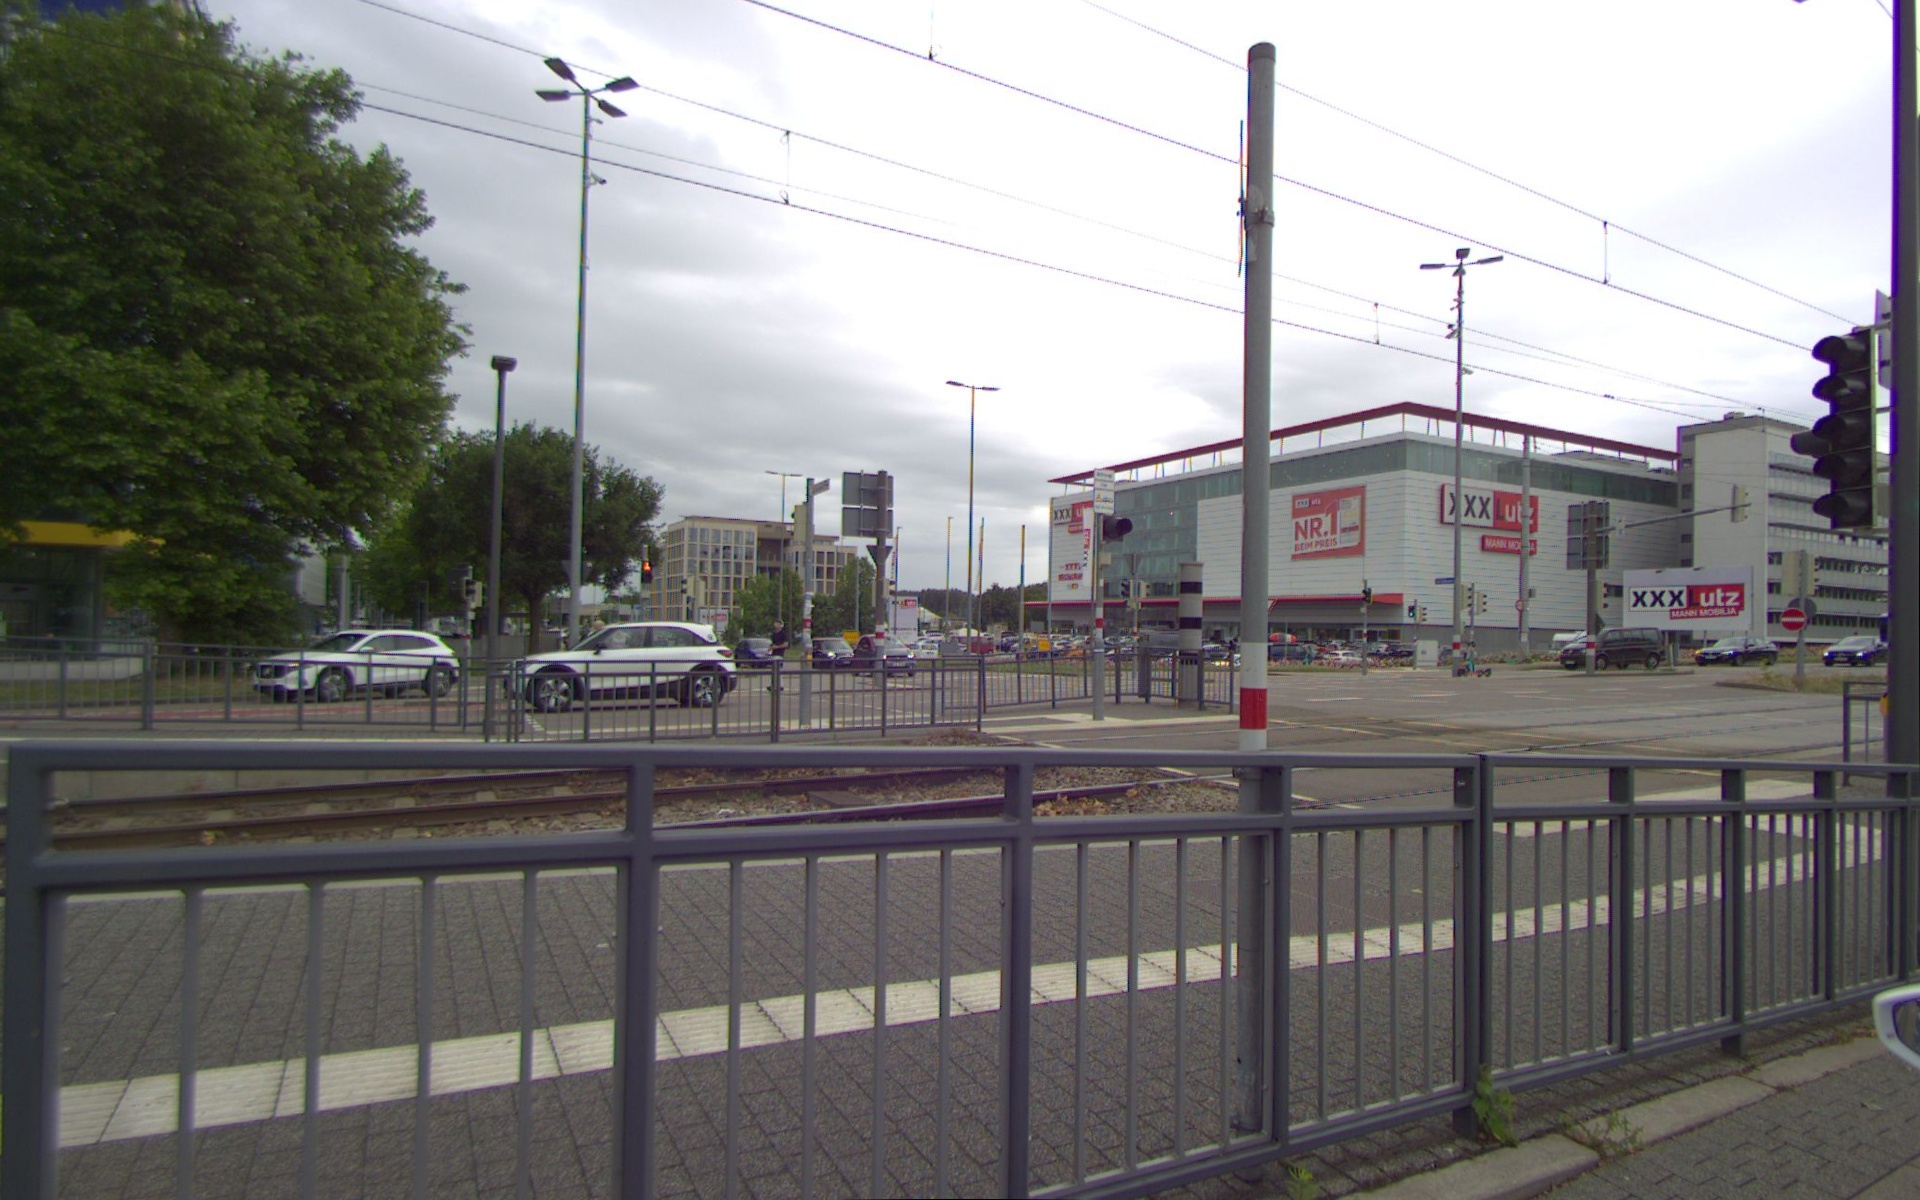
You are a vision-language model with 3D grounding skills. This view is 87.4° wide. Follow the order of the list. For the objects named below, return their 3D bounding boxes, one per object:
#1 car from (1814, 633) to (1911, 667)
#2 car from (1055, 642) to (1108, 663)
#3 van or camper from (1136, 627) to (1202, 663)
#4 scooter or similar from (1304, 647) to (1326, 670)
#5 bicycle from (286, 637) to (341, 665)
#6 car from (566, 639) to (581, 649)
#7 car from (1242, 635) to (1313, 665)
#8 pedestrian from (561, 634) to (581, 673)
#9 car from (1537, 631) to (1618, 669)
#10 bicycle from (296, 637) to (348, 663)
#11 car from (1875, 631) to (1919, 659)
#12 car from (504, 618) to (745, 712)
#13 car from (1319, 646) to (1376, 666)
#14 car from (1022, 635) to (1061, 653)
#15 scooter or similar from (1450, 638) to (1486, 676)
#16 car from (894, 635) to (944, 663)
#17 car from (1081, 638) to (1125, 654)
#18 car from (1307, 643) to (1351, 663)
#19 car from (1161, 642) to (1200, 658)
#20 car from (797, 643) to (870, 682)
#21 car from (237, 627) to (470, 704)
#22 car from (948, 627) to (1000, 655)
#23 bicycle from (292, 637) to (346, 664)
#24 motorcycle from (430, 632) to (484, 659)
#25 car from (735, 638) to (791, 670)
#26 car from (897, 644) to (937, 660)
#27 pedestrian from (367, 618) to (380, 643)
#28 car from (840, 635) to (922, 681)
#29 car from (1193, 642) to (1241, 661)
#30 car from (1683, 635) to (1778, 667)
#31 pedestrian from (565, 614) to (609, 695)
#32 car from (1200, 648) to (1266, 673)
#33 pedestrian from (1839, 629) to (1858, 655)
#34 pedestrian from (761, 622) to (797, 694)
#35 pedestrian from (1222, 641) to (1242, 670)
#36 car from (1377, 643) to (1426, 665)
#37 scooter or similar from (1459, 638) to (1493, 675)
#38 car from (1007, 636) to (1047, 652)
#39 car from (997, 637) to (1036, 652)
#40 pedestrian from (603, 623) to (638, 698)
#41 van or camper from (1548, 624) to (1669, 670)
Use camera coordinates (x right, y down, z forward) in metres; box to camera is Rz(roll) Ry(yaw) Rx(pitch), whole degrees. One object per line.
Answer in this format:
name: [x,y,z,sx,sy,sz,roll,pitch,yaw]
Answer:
car: [42.985,2.385,47.839,4.147,1.483,1.827,2,-1,-23]
car: [10.009,4.337,82.727,3.944,1.665,1.805,2,-3,-23]
van or camper: [18.060,3.905,86.776,5.315,3.022,1.983,2,-2,-20]
scooter or similar: [19.251,3.164,54.485,1.143,1.249,0.346,-1,-4,24]
bicycle: [-29.481,2.319,45.857,1.998,1.172,0.589,4,-3,-30]
car: [-62.612,7.107,162.601,1.912,1.539,4.154,-1,-2,-27]
car: [24.130,3.802,76.279,4.980,2.193,2.111,1,-2,-23]
pedestrian: [-16.621,2.297,42.931,0.628,1.663,0.803,2,-4,-30]
car: [53.397,4.370,86.849,6.861,3.029,2.750,2,0,-27]
bicycle: [-30.393,2.389,47.858,1.998,1.172,0.589,4,-3,-30]
car: [56.198,2.673,59.495,3.996,1.559,1.721,2,0,-28]
car: [-6.332,1.232,19.053,4.093,1.606,1.784,2,-4,-29]
car: [29.534,4.280,76.564,4.156,1.495,1.734,2,-3,-26]
car: [8.668,4.684,106.886,3.700,1.791,1.722,2,0,-26]
scooter or similar: [17.496,1.959,34.597,1.001,1.272,0.463,0,-3,-15]
car: [-2.980,3.528,72.167,1.975,1.775,4.149,2,-1,-28]
car: [14.908,4.799,104.690,4.197,1.488,1.728,3,-1,-26]
car: [35.681,5.094,97.095,3.946,1.842,1.810,1,-3,-26]
car: [24.060,5.448,109.484,3.952,1.676,1.821,3,-3,-29]
car: [-5.316,2.552,41.782,1.647,1.522,4.035,1,-3,-29]
car: [-13.998,1.502,23.513,1.857,1.606,4.411,0,-3,21]
car: [1.374,4.084,100.504,4.676,2.613,2.156,2,0,-26]
bicycle: [-29.895,2.339,46.880,1.998,1.172,0.589,4,-3,-30]
motorcycle: [-27.859,2.547,55.645,2.481,1.373,0.791,5,-4,-40]
car: [-9.788,2.640,49.711,1.588,1.463,4.114,0,-2,-28]
car: [-4.703,5.652,109.597,4.014,1.561,1.752,2,0,-26]
pedestrian: [-41.451,2.165,70.962,0.671,1.768,0.802,3,-2,-28]
car: [-2.971,2.113,37.062,1.627,1.435,3.682,2,-1,-29]
car: [23.032,4.627,89.900,3.949,1.576,1.842,3,-3,-27]
car: [38.707,2.548,50.449,4.260,1.483,1.958,1,-1,-23]
pedestrian: [-8.569,1.254,23.083,0.756,1.820,0.671,-3,-5,45]
car: [18.182,4.029,66.881,4.071,1.465,1.861,2,-1,-29]
pedestrian: [62.131,2.935,70.261,0.684,1.814,0.643,2,0,1]
pedestrian: [-4.660,1.499,25.835,0.657,1.787,0.682,-1,-4,-31]
pedestrian: [15.413,3.132,56.907,0.774,1.617,0.712,2,-4,-29]
car: [39.718,4.846,90.378,3.946,1.954,1.938,1,-3,-26]
scooter or similar: [18.256,1.995,35.524,1.097,1.272,0.320,0,-3,-15]
car: [7.288,4.800,109.020,3.948,1.617,1.867,2,0,-27]
car: [6.252,4.896,111.192,3.951,1.554,1.875,3,-3,-29]
pedestrian: [-8.013,1.422,23.684,0.666,1.734,0.761,2,-3,-24]
van or camper: [30.641,2.238,47.543,4.672,2.039,2.119,0,-4,-14]
